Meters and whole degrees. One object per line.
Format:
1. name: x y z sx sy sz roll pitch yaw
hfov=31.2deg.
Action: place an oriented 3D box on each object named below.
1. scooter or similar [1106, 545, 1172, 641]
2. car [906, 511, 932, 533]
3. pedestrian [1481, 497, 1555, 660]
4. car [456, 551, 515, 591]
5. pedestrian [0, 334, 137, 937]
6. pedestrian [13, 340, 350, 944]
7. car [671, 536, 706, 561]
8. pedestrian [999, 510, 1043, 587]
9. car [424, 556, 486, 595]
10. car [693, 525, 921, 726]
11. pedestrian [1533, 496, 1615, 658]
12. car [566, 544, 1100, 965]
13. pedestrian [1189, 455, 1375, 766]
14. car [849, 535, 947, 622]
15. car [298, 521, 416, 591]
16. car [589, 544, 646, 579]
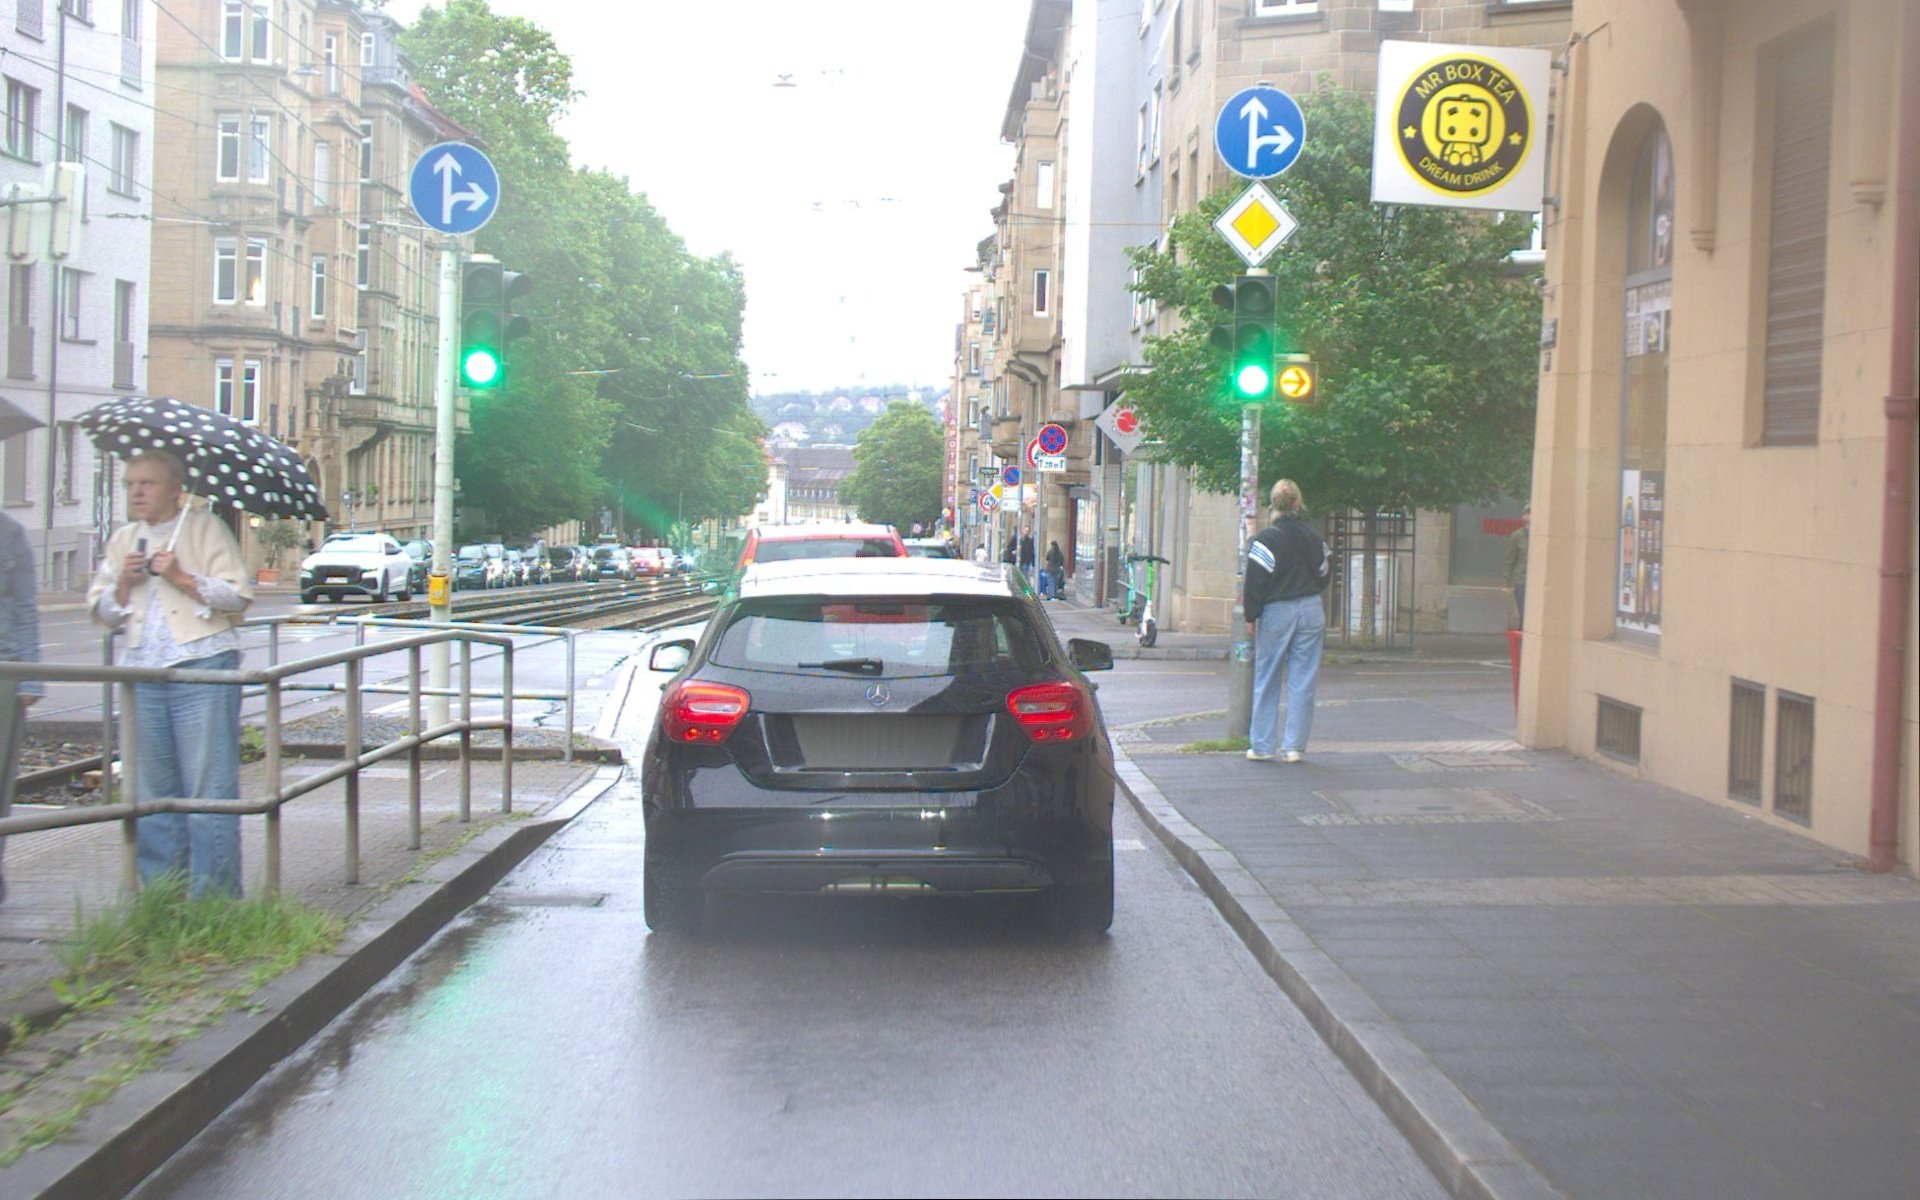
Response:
1. scooter or similar: 2.278 -0.098 43.927 0.638 1.206 1.553 0 1 -5
2. car: -2.586 -4.906 216.143 1.613 1.313 4.000 2 1 -1
3. pedestrian: 6.215 -0.243 38.320 0.594 1.782 0.891 -1 1 -4
4. car: -16.950 -1.057 122.914 1.569 1.408 3.481 0 1 1
5. pedestrian: -3.445 0.103 11.945 0.897 2.007 0.947 2 1 -1
6. pedestrian: -2.707 0.136 12.054 0.926 2.007 0.947 2 1 -1
7. car: -15.398 -2.911 195.050 1.695 1.384 3.481 0 1 1
8. pedestrian: 1.433 -1.206 80.449 0.945 1.763 1.015 1 1 -3
9. car: -17.245 -0.855 117.475 1.569 1.312 3.481 0 1 1
10. car: -1.241 0.151 27.376 1.649 1.447 4.001 1 1 -3
11. pedestrian: 6.860 -0.263 38.435 0.682 1.782 0.902 -1 1 -4
12. car: -0.421 0.515 14.219 1.866 1.447 4.000 1 1 1
13. pedestrian: 1.974 0.058 21.193 0.899 1.834 0.968 -2 1 -6
14. car: -1.147 -0.415 64.199 1.765 1.553 4.746 0 1 -1
15. car: -14.519 -1.048 83.018 1.993 1.622 5.253 0 0 -1
16. car: -14.162 -1.609 142.413 1.948 1.392 4.274 -1 1 0
